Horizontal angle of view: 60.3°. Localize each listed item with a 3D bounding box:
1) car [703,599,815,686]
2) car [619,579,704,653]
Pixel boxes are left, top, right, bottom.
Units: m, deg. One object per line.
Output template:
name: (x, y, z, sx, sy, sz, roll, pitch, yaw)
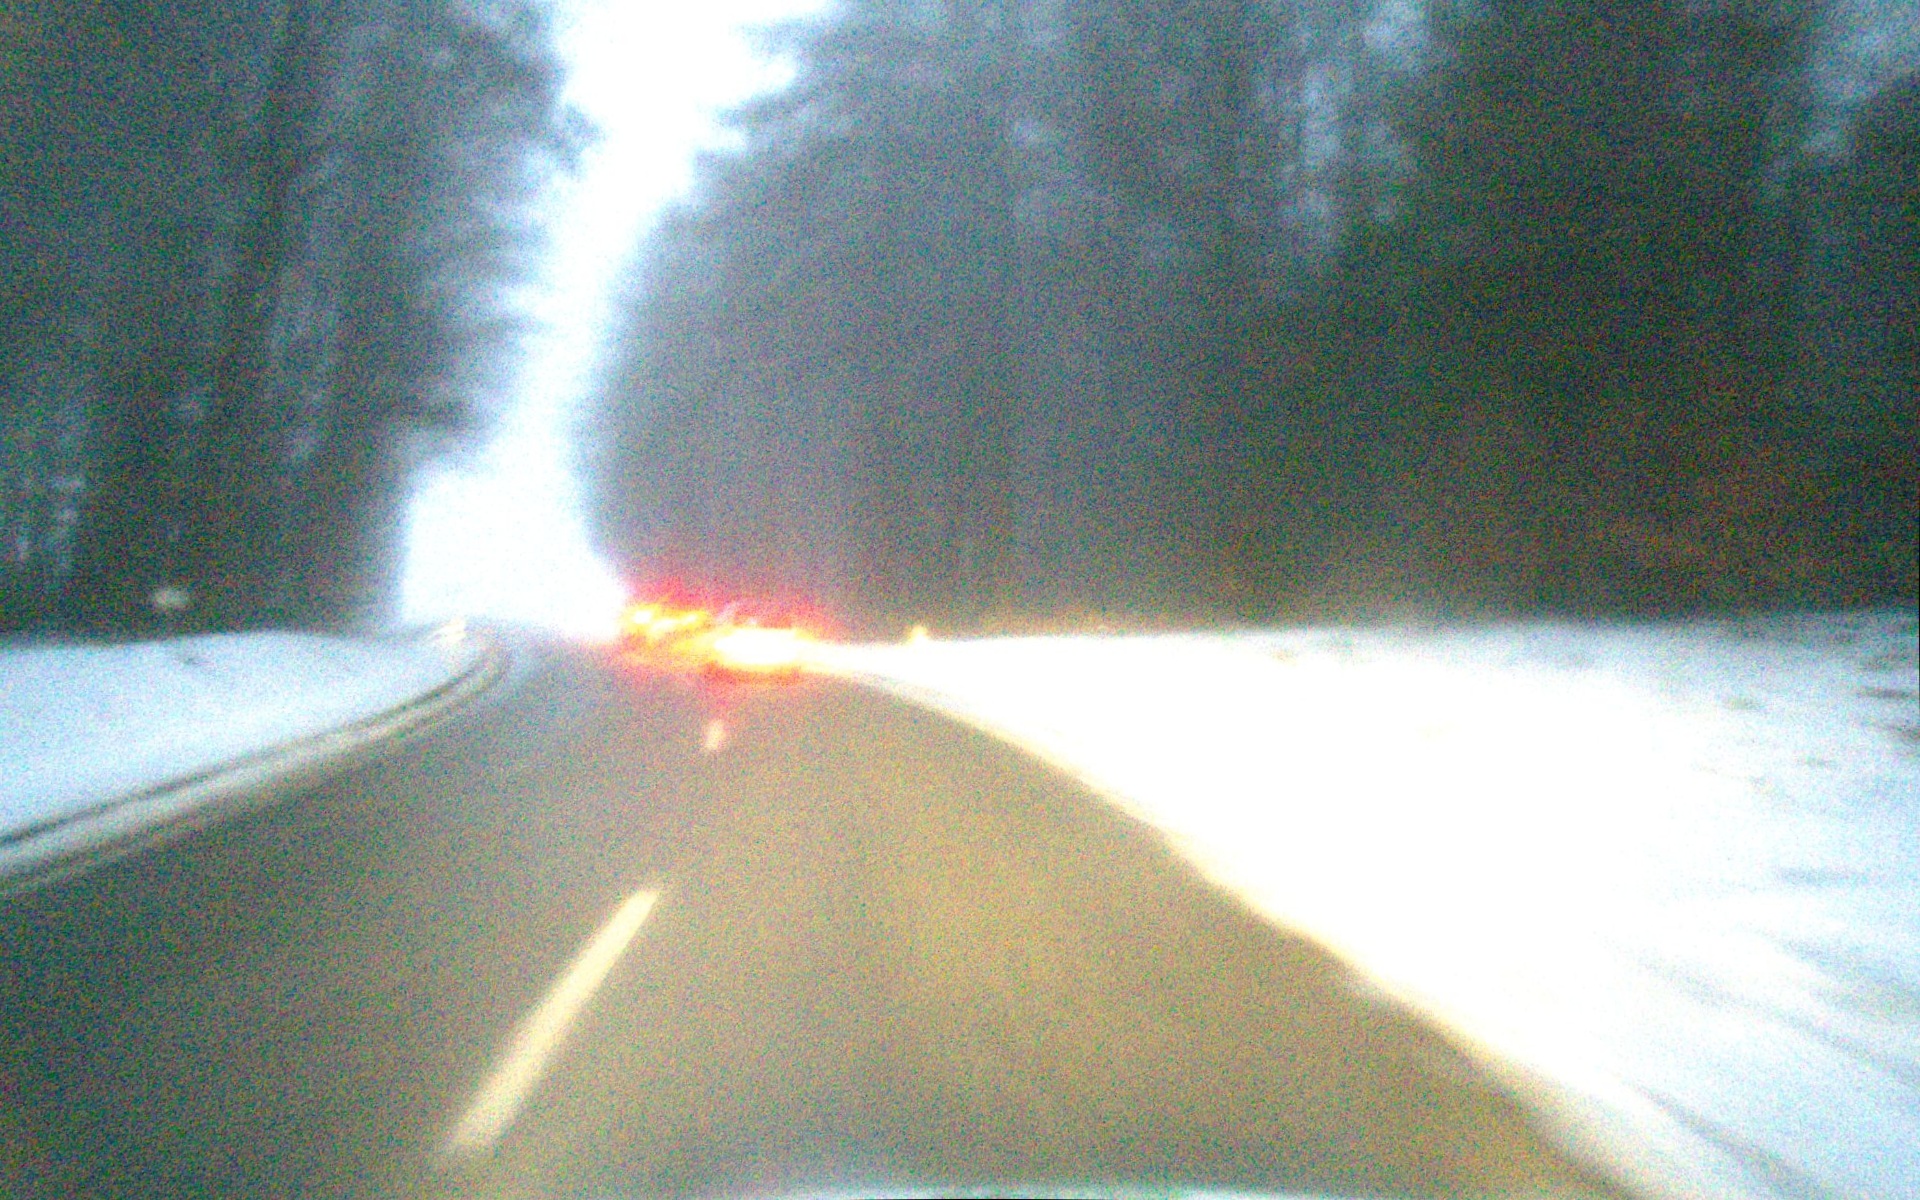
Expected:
car: (-3.926, 0.824, 31.975, 1.910, 1.405, 3.992, 6, -2, -8)
car: (-8.669, 0.492, 47.804, 1.961, 1.813, 3.985, 7, -3, -14)
